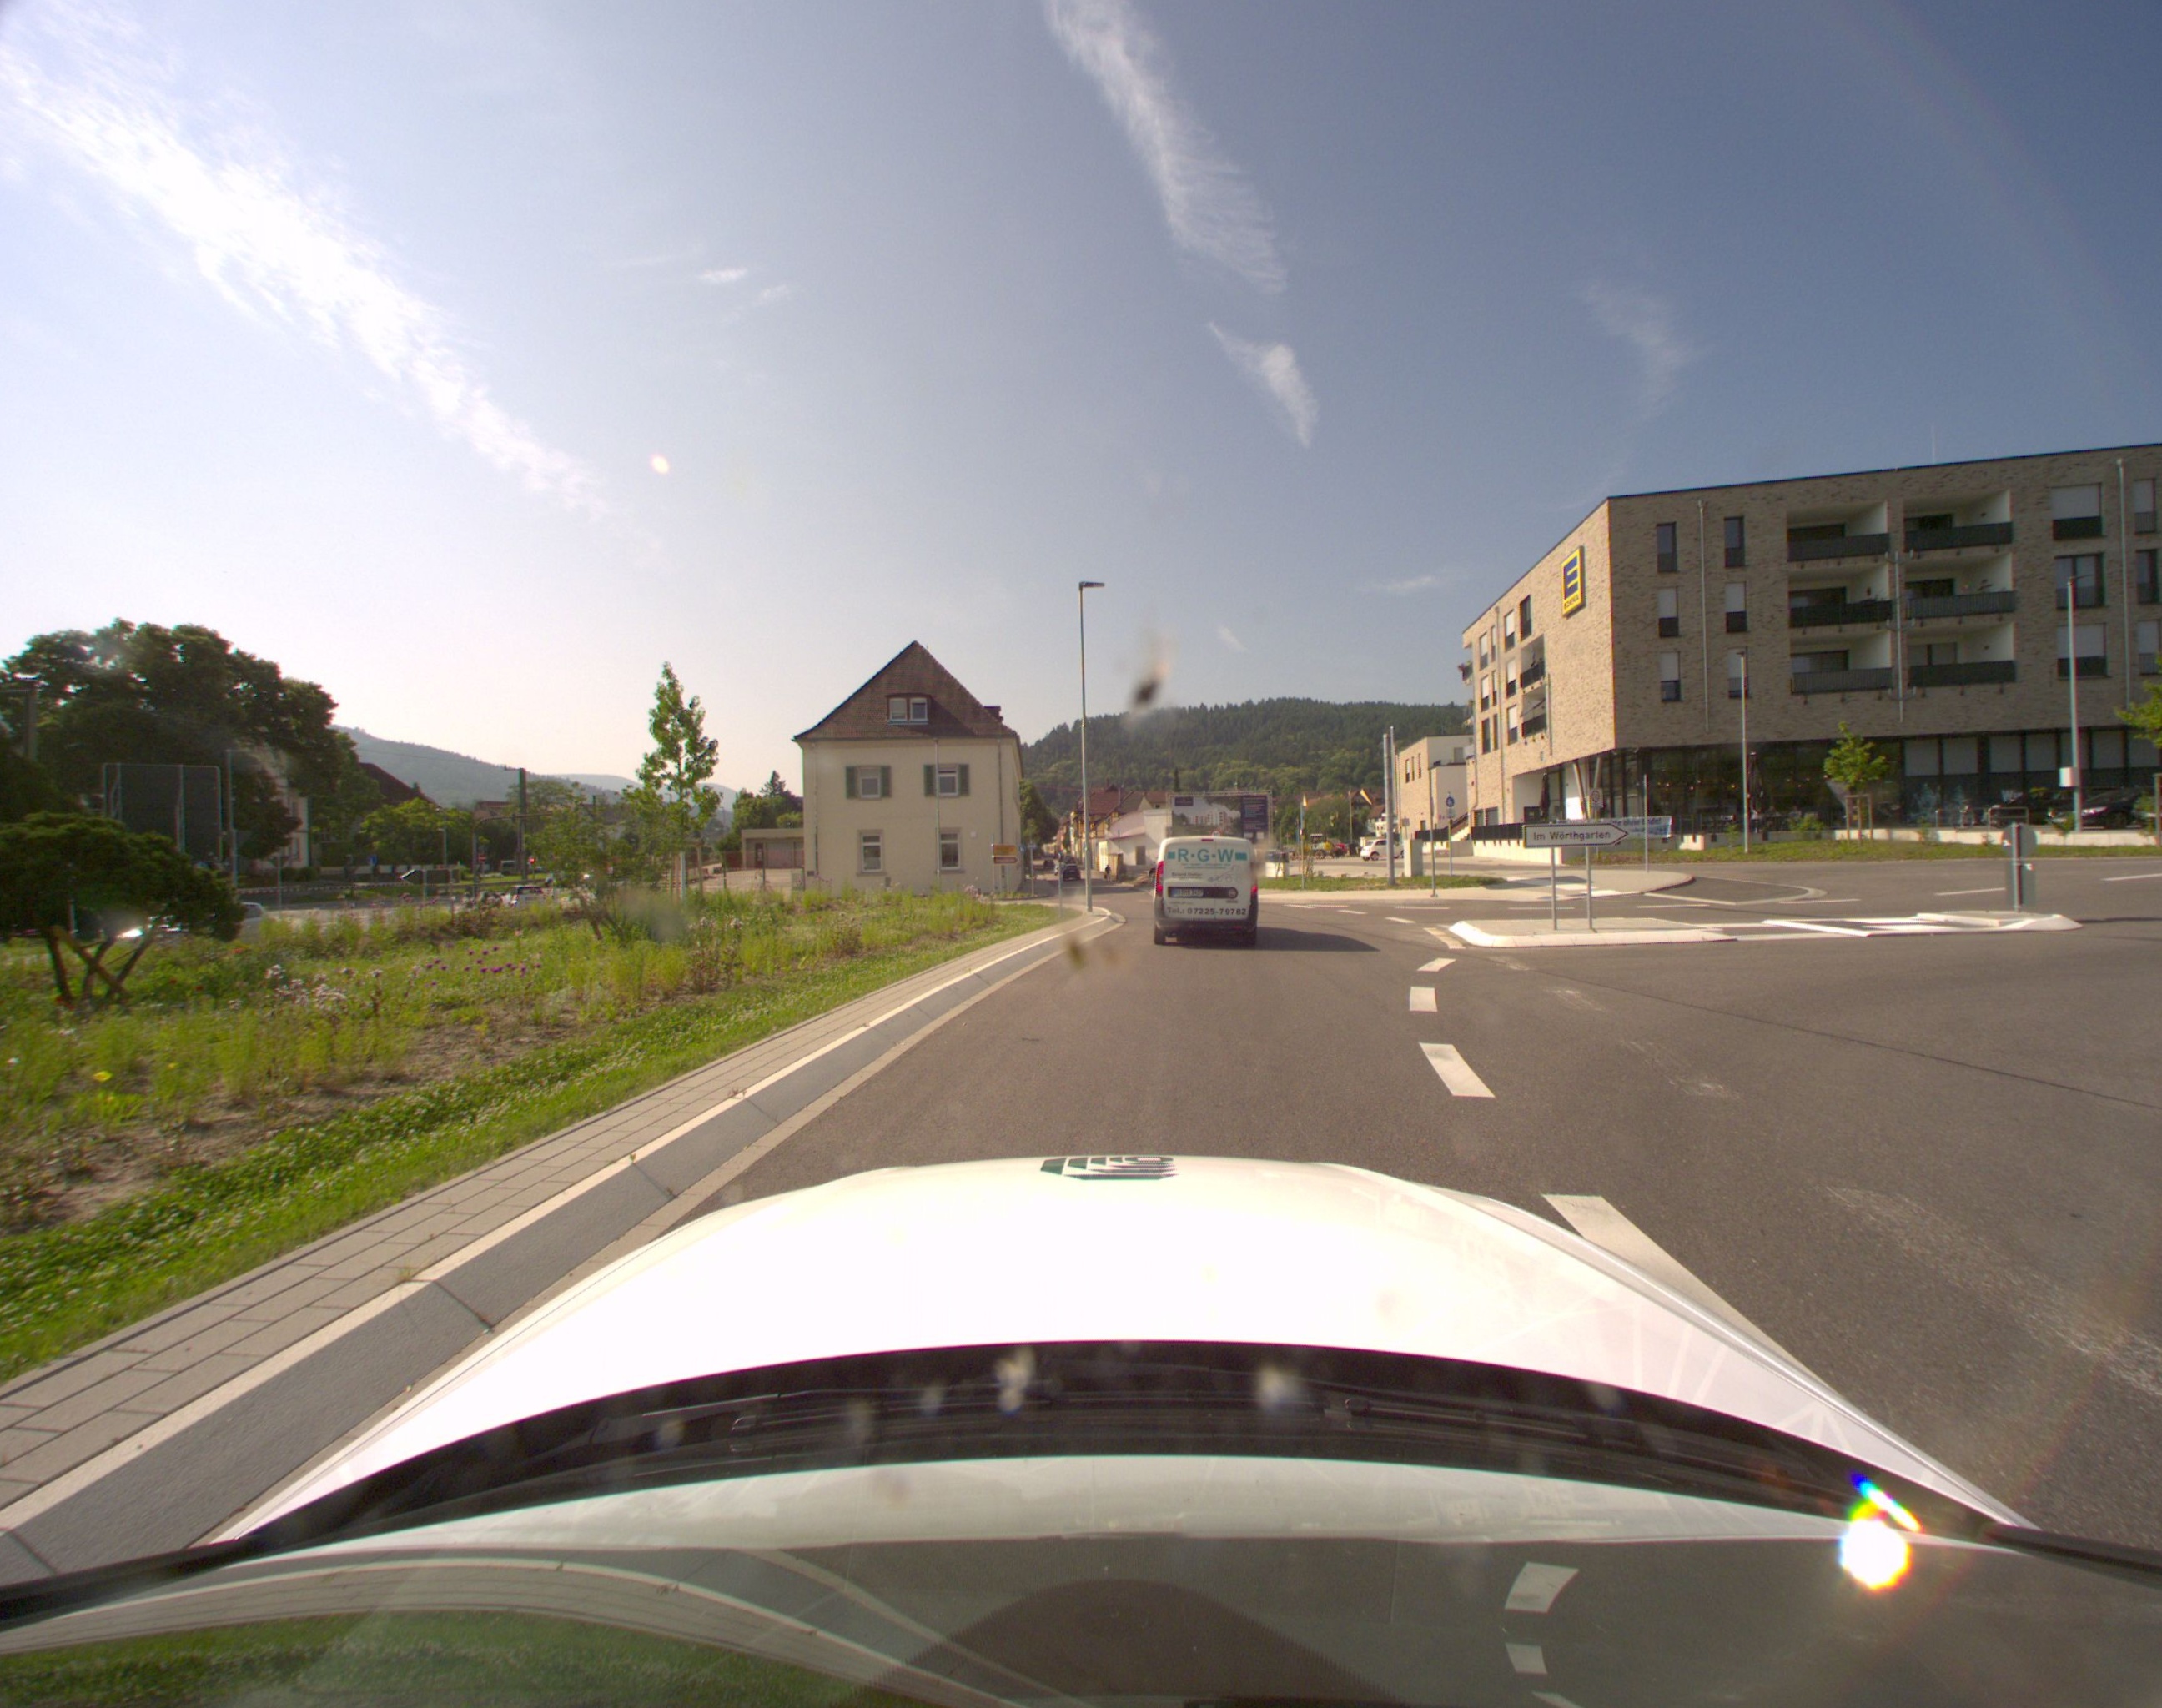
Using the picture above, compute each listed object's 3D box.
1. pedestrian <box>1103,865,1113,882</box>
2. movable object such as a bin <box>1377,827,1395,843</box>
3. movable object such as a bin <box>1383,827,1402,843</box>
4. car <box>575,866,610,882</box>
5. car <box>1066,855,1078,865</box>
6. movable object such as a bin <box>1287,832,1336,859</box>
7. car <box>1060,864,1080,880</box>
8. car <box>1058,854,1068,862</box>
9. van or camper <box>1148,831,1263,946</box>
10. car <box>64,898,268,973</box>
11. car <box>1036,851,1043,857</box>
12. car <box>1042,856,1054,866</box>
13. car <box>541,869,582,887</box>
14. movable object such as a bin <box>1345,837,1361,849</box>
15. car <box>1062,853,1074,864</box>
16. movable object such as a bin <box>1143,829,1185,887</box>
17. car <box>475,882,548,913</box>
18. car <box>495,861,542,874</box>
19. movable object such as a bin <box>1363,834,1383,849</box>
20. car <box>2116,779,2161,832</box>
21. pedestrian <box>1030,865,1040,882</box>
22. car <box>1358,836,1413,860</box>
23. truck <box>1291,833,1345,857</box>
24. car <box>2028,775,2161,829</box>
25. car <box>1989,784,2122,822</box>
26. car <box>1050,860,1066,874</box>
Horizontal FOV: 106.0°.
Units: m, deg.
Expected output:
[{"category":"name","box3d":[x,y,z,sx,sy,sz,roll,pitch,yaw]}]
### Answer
[{"category":"pedestrian","box3d":[2.664,1.876,80.049,0.887,1.683,0.717,0,-1,-4]},{"category":"movable object such as a bin","box3d":[28.739,-1.755,76.674,1.292,1.464,1.322,1,1,6]},{"category":"movable object such as a bin","box3d":[28.625,-1.726,74.791,1.292,1.464,1.322,1,1,6]},{"category":"car","box3d":[-47.356,1.904,79.016,1.710,1.397,3.984,1,1,-12]},{"category":"car","box3d":[-1.596,1.023,143.252,1.807,1.596,3.922,1,1,-4]},{"category":"movable object such as a bin","box3d":[23.875,-0.865,84.237,4.572,2.569,1.935,-3,-1,21]},{"category":"car","box3d":[-1.137,1.842,84.131,1.808,1.596,3.920,1,1,-5]},{"category":"car","box3d":[-3.733,0.877,169.776,1.667,1.508,3.992,-2,0,-6]},{"category":"van or camper","box3d":[2.360,0.580,15.323,1.817,1.844,4.199,-1,0,9]},{"category":"car","box3d":[-23.862,2.053,21.480,1.674,1.531,3.977,-3,0,-16]},{"category":"car","box3d":[-10.795,-0.044,210.419,1.807,1.596,3.921,1,1,-4]},{"category":"car","box3d":[-5.361,1.143,132.894,1.808,1.596,3.920,1,1,-5]},{"category":"car","box3d":[-45.407,2.049,71.287,1.710,1.397,3.984,1,1,-12]},{"category":"movable object such as a bin","box3d":[27.836,-1.127,83.244,1.289,1.268,1.322,1,1,6]},{"category":"car","box3d":[-2.472,0.864,153.267,1.868,2.013,3.994,-1,0,-4]},{"category":"movable object such as a bin","box3d":[5.909,0.294,59.072,2.287,3.854,7.797,1,0,0]},{"category":"car","box3d":[-30.778,2.300,43.989,3.949,1.397,1.725,1,1,31]},{"category":"car","box3d":[-63.479,1.512,91.918,3.997,1.397,1.704,0,1,-18]},{"category":"movable object such as a bin","box3d":[28.776,-1.261,80.289,1.572,1.464,1.322,1,1,6]},{"category":"car","box3d":[34.346,-1.574,24.162,4.419,1.555,1.863,-4,2,9]},{"category":"pedestrian","box3d":[-4.435,1.894,77.960,0.956,1.631,0.757,-1,-1,-4]},{"category":"car","box3d":[22.192,-0.432,59.383,3.399,1.495,1.591,-3,-1,-5]},{"category":"truck","box3d":[25.474,-0.969,87.507,5.268,2.265,2.231,-3,-1,22]},{"category":"car","box3d":[35.151,-1.782,27.211,4.419,1.555,1.863,-4,2,9]},{"category":"car","box3d":[38.750,-1.992,32.495,1.479,1.350,3.337,1,1,5]},{"category":"car","box3d":[-2.851,1.566,100.197,1.808,1.596,3.920,1,1,-5]}]
